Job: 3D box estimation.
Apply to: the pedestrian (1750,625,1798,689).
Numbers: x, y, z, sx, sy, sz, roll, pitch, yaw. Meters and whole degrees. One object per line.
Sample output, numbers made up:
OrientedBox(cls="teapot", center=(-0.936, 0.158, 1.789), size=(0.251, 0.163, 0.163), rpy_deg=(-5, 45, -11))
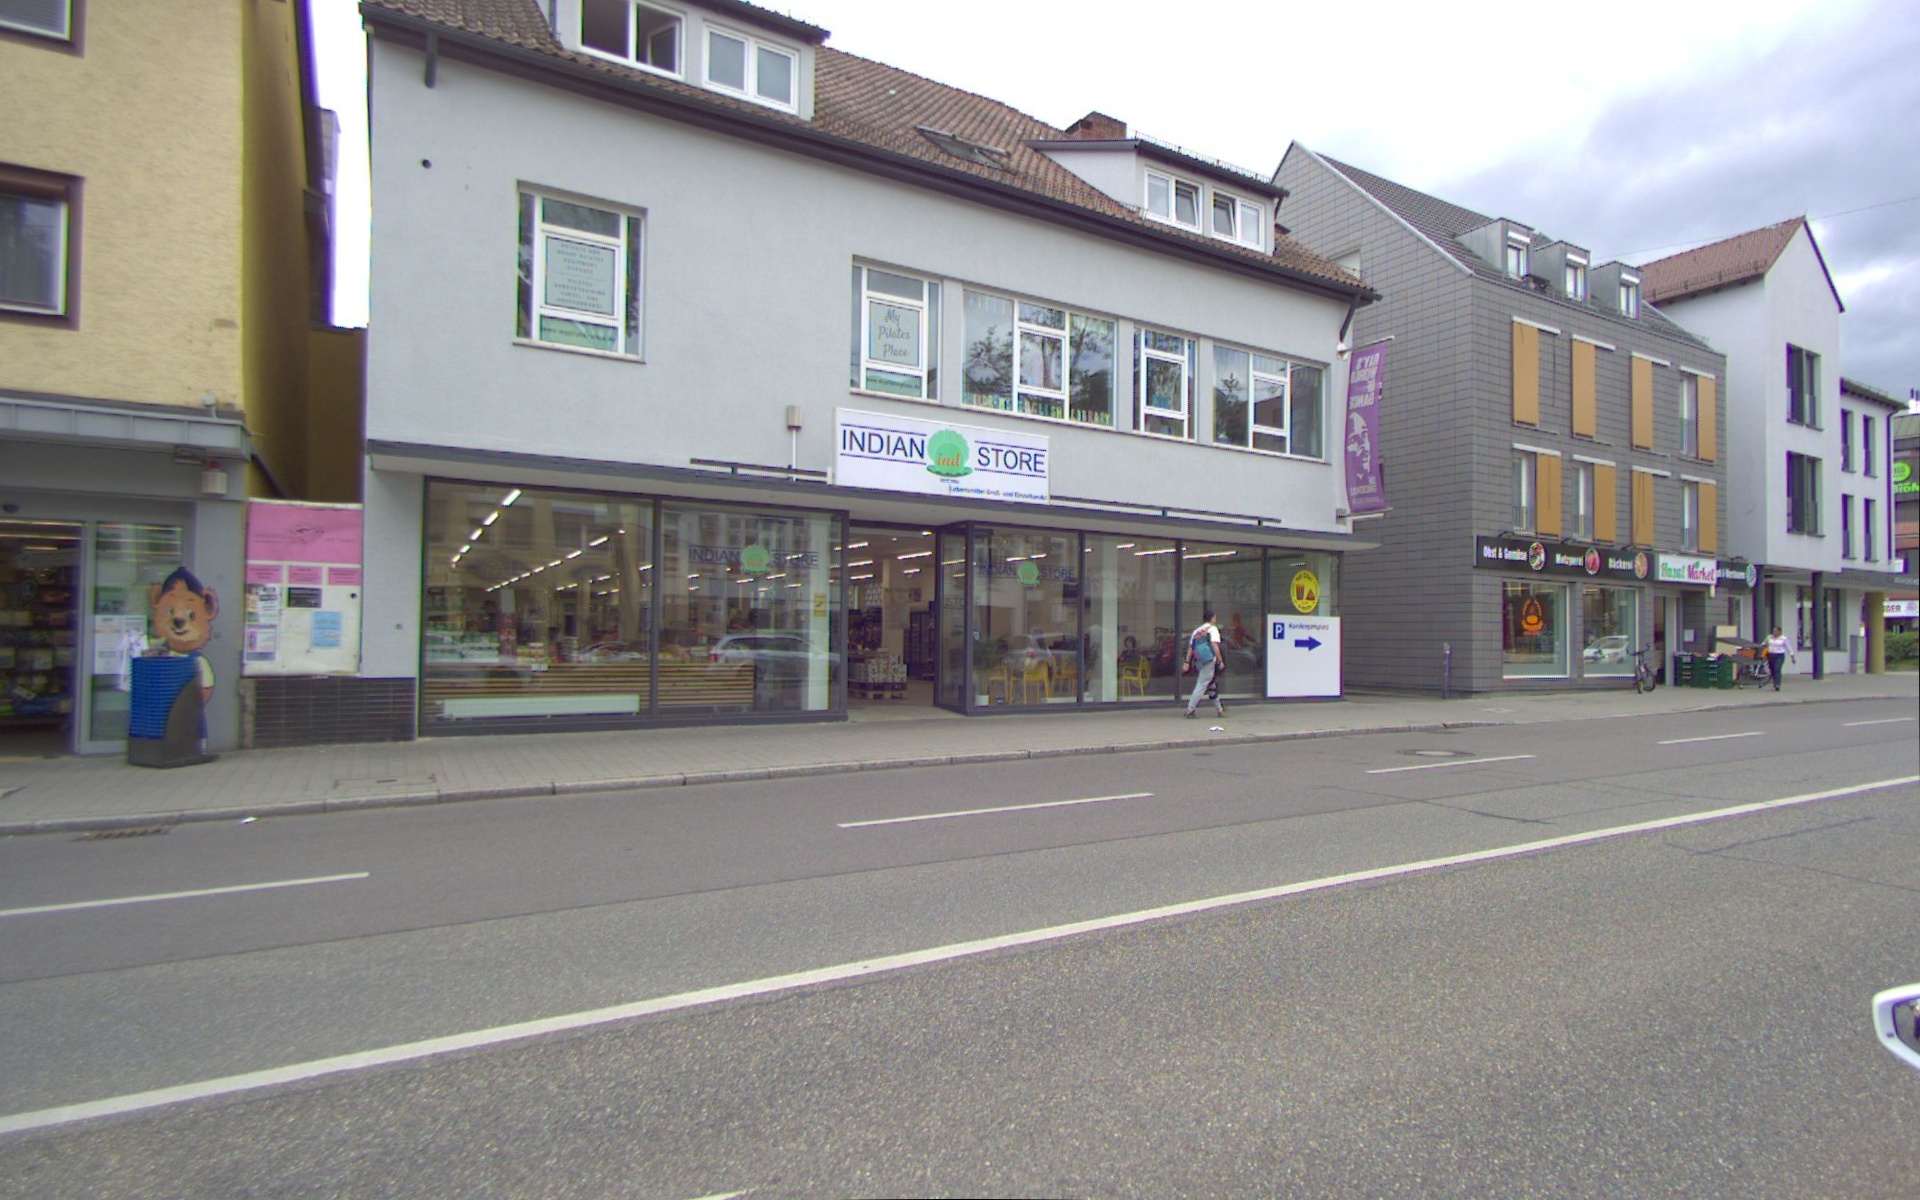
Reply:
OrientedBox(cls="pedestrian", center=(20.996, 1.454, 25.915), size=(0.744, 1.631, 0.725), rpy_deg=(1, -1, -29))

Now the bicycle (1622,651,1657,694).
OrientedBox(cls="bicycle", center=(16.337, 1.730, 24.133), size=(1.472, 0.966, 0.323), rpy_deg=(2, -2, -41))

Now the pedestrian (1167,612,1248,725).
OrientedBox(cls="pedestrian", center=(3.964, 1.069, 16.110), size=(0.969, 1.728, 0.750), rpy_deg=(1, 1, -30))

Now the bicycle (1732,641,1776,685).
OrientedBox(cls="bicycle", center=(22.022, 1.732, 27.851), size=(1.806, 1.201, 0.384), rpy_deg=(1, -2, -33))

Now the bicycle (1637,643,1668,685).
OrientedBox(cls="bicycle", center=(19.188, 1.755, 27.816), size=(1.279, 1.142, 0.383), rpy_deg=(1, -2, -40))
